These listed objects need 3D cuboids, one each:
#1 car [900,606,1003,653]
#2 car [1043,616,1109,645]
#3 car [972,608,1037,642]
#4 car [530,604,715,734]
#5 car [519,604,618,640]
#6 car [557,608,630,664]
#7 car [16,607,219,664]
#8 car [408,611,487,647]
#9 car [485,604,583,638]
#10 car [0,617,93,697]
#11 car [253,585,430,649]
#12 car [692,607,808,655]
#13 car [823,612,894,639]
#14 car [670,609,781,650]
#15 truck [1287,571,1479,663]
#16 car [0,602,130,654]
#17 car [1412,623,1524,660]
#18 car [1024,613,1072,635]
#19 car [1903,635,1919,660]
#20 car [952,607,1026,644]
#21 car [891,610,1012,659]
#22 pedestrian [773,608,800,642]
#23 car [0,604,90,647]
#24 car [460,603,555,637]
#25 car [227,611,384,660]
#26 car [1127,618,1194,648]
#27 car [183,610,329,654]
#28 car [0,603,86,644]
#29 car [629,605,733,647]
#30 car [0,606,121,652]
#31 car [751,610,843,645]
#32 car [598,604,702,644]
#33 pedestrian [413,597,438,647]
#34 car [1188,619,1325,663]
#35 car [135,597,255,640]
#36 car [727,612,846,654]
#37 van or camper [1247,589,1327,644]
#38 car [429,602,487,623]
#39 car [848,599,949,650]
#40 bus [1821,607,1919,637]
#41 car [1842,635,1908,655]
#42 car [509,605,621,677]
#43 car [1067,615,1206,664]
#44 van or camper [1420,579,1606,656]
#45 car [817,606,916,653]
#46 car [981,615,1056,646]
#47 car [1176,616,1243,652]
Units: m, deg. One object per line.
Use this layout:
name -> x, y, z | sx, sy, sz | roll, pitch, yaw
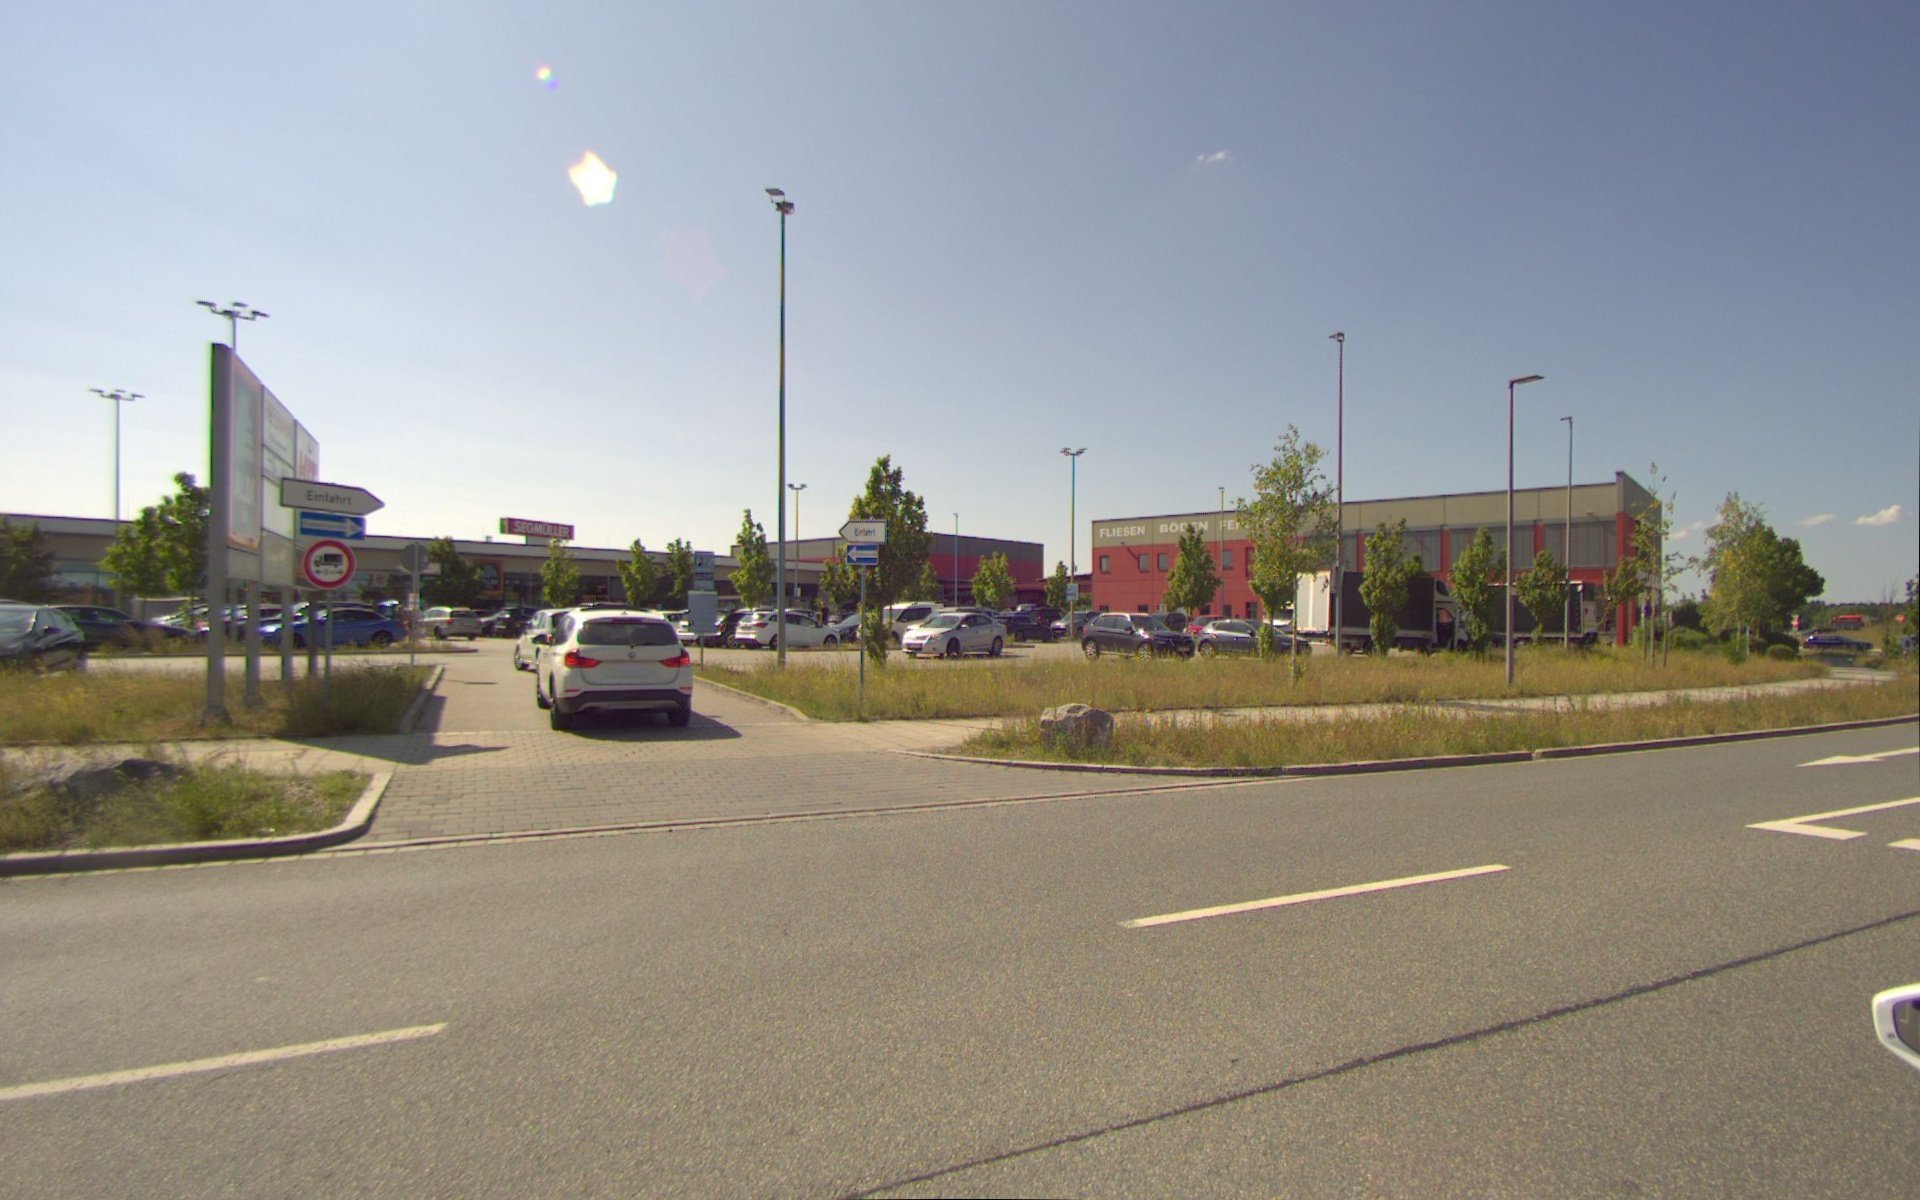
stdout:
car -> -0.299, 1.241, 41.864 | 1.811, 1.847, 4.359 | 0, -2, 41
car -> 6.845, 1.797, 58.867 | 1.810, 1.583, 4.363 | 0, -2, 39
car -> 2.778, 1.562, 62.158 | 1.810, 2.021, 4.363 | 0, -2, 39
car -> -4.983, 0.880, 14.455 | 1.893, 1.568, 4.196 | 1, -1, -27
car -> -20.019, 1.139, 51.484 | 1.887, 1.748, 4.365 | 0, -2, 37
car -> -11.231, 1.070, 30.674 | 1.890, 1.568, 3.978 | 1, -1, -23
car -> -24.604, 1.010, 29.459 | 1.691, 1.536, 4.334 | -1, -2, 40
car -> -24.040, 1.348, 47.085 | 3.937, 1.568, 1.833 | 0, -1, 38
car -> -22.472, 1.128, 53.124 | 1.887, 1.740, 4.365 | 0, -2, 37
car -> -18.093, 1.007, 18.813 | 1.912, 1.366, 4.127 | 1, -1, -28
car -> -20.779, 0.605, 33.930 | 1.691, 2.012, 4.812 | -1, -2, 40
car -> -8.511, 1.250, 40.956 | 1.890, 1.827, 4.359 | 0, -2, 41
car -> -6.314, 1.593, 62.648 | 1.811, 1.654, 4.359 | 0, -2, 41
car -> -10.031, 1.272, 43.132 | 1.890, 1.639, 4.359 | 0, -2, 41
truck -> 17.147, 0.746, 40.718 | 7.371, 3.510, 2.317 | 1, -1, -16
car -> -29.401, 0.876, 31.985 | 1.691, 1.581, 4.334 | -1, -2, 40
car -> 23.477, 1.883, 46.509 | 1.826, 1.572, 4.324 | 2, -2, -44
car -> 6.756, 1.816, 76.698 | 1.641, 1.607, 4.066 | 0, -2, 39
car -> 71.435, 3.474, 74.461 | 1.928, 1.818, 4.407 | -2, -3, 39
car -> 1.655, 1.438, 56.115 | 1.811, 2.021, 4.359 | 0, -2, 41
car -> -0.202, 1.167, 34.126 | 1.807, 1.532, 4.608 | 0, -2, 34
pedestrian -> -10.782, 1.533, 62.529 | 1.077, 2.075, 1.244 | 0, -1, 41
car -> -37.261, 0.999, 39.539 | 1.691, 1.623, 4.334 | -1, -2, 40
car -> -24.632, 1.107, 54.801 | 1.887, 1.762, 4.365 | 0, -2, 37
car -> -22.995, 1.228, 35.424 | 1.691, 1.602, 4.334 | -1, -2, 40
car -> 11.144, 1.818, 55.624 | 1.810, 1.583, 4.363 | 0, -2, 39
car -> -27.025, 1.217, 38.673 | 1.691, 1.596, 4.334 | -1, -2, 40
car -> -38.833, 0.956, 41.156 | 1.758, 1.616, 4.334 | -1, -2, 40
car -> -12.419, 1.166, 45.000 | 1.884, 1.740, 4.372 | 0, -1, 31
car -> -32.952, 1.033, 35.874 | 1.691, 1.564, 4.334 | -1, -2, 40
car -> -7.999, 1.361, 49.598 | 1.811, 1.603, 4.359 | 0, -2, 41
car -> -14.287, 1.102, 46.522 | 1.886, 1.749, 4.367 | 0, -2, 36
pedestrian -> -19.190, 0.784, 36.055 | 0.788, 1.783, 0.544 | 0, -1, 42
car -> 10.295, 1.408, 35.141 | 1.955, 1.402, 4.397 | 2, -1, -34
car -> -36.859, 0.909, 48.472 | 1.691, 1.984, 4.334 | -1, -2, 40
car -> -6.661, 1.263, 38.819 | 1.811, 1.532, 4.359 | 0, -2, 41
van or camper -> 21.107, 1.111, 64.622 | 2.401, 3.314, 7.202 | 0, -2, 40
car -> -45.776, 1.179, 91.697 | 1.890, 1.814, 4.359 | 0, -2, 41
car -> -2.631, 1.055, 43.513 | 1.811, 2.092, 4.359 | 0, -2, 41
bus -> 104.025, 2.489, 114.793 | 12.012, 3.120, 2.785 | -1, -1, -19
car -> 76.211, 3.704, 83.719 | 1.744, 1.537, 3.786 | 1, -1, -16
car -> -9.552, 0.941, 24.118 | 1.895, 1.568, 3.967 | 2, -1, -31
car -> 5.648, 1.246, 32.671 | 1.819, 1.478, 4.548 | 2, -1, -34
van or camper -> 26.935, 0.847, 49.271 | 2.538, 3.514, 7.618 | 2, -2, -43
car -> -4.175, 1.330, 45.396 | 1.811, 2.024, 4.359 | 0, -2, 41
car -> 3.195, 1.648, 54.028 | 1.810, 1.583, 4.363 | 0, -2, 39
car -> 13.348, 1.803, 53.614 | 1.810, 1.797, 4.363 | 0, -2, 39
